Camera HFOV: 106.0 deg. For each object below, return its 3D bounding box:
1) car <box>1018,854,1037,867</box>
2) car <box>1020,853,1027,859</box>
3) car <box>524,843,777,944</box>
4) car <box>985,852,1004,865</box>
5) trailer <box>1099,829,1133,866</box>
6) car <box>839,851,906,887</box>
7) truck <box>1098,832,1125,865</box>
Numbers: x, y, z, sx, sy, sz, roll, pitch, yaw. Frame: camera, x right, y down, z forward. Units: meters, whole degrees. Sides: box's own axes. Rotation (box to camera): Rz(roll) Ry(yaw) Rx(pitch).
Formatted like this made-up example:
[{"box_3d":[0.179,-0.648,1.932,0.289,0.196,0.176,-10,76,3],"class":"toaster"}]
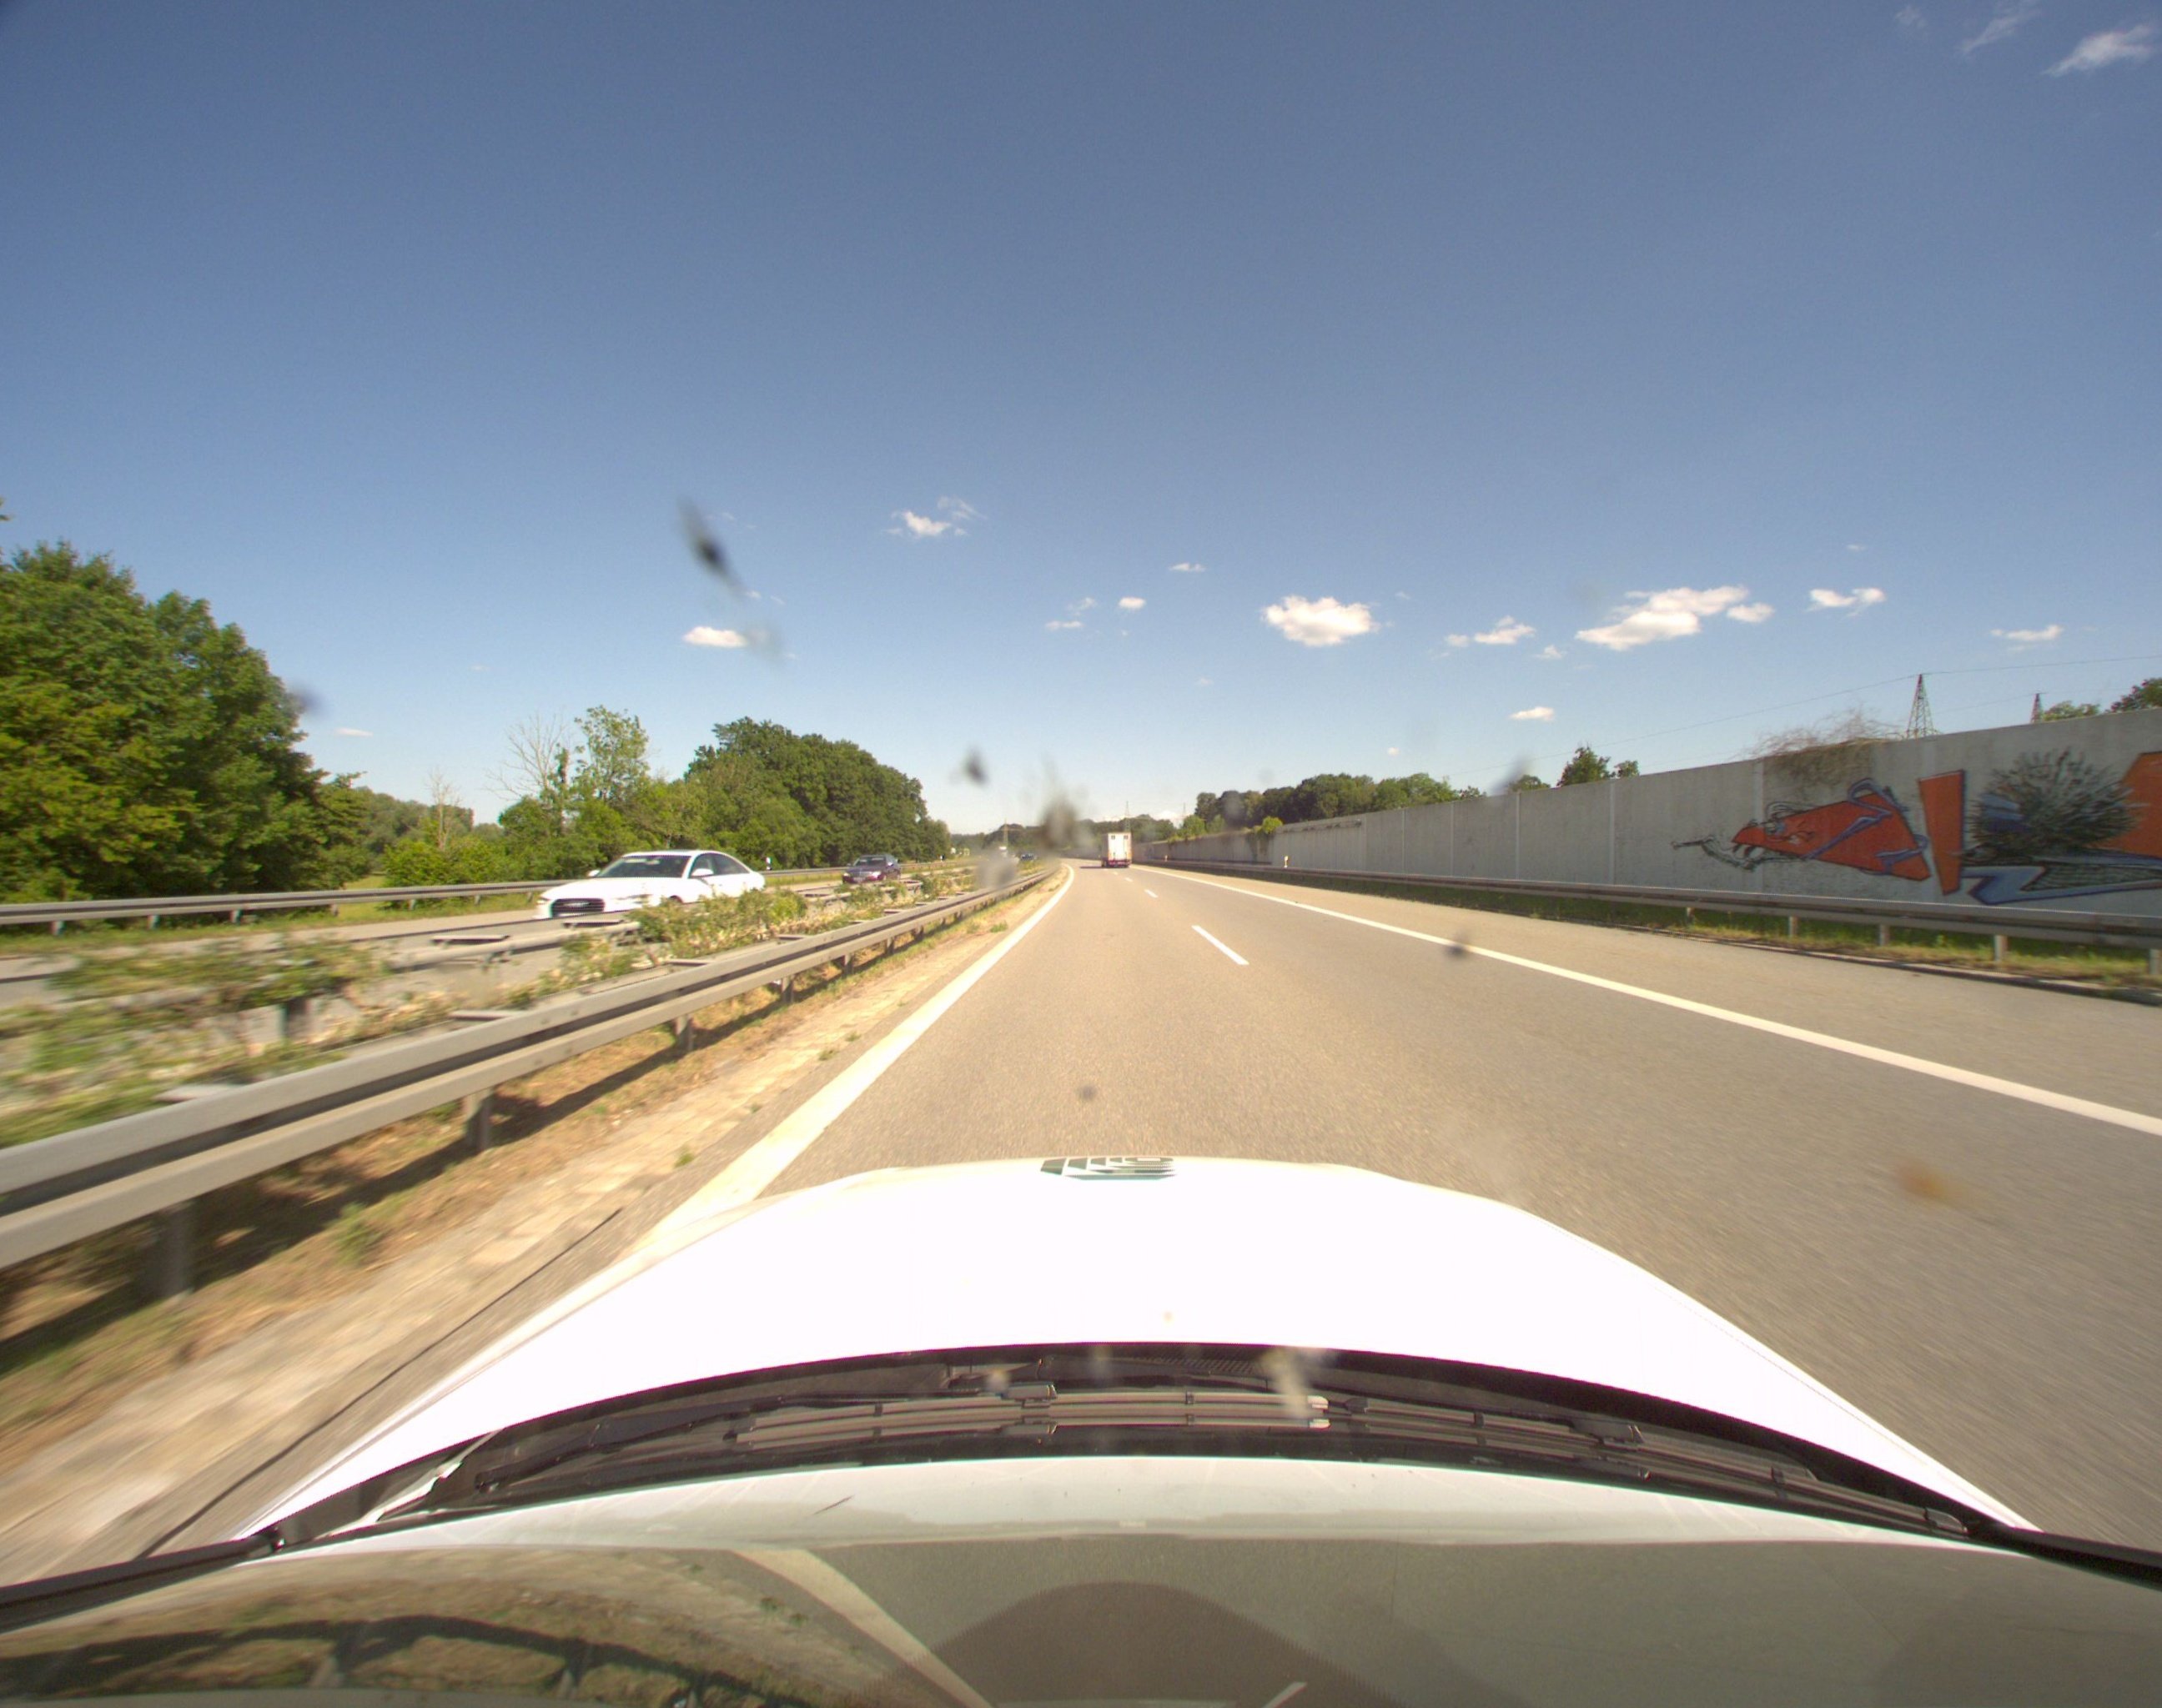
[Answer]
[{"box_3d":[-6.292,0.732,96.229,1.847,1.482,4.000,-1,0,0],"class":"car"},{"box_3d":[-14.967,0.450,213.219,1.657,1.450,4.237,-2,0,-6],"class":"car"},{"box_3d":[-7.015,0.562,13.955,1.815,1.434,4.650,0,0,0],"class":"car"},{"box_3d":[-10.980,0.562,103.368,1.847,1.634,4.493,-1,0,0],"class":"car"},{"box_3d":[4.031,-0.691,96.088,2.877,4.066,12.408,-1,0,-2],"class":"trailer"},{"box_3d":[-9.100,0.622,35.910,1.767,1.470,4.506,0,0,0],"class":"car"},{"box_3d":[3.822,-0.682,102.555,2.823,4.012,6.581,-1,0,-2],"class":"truck"}]
